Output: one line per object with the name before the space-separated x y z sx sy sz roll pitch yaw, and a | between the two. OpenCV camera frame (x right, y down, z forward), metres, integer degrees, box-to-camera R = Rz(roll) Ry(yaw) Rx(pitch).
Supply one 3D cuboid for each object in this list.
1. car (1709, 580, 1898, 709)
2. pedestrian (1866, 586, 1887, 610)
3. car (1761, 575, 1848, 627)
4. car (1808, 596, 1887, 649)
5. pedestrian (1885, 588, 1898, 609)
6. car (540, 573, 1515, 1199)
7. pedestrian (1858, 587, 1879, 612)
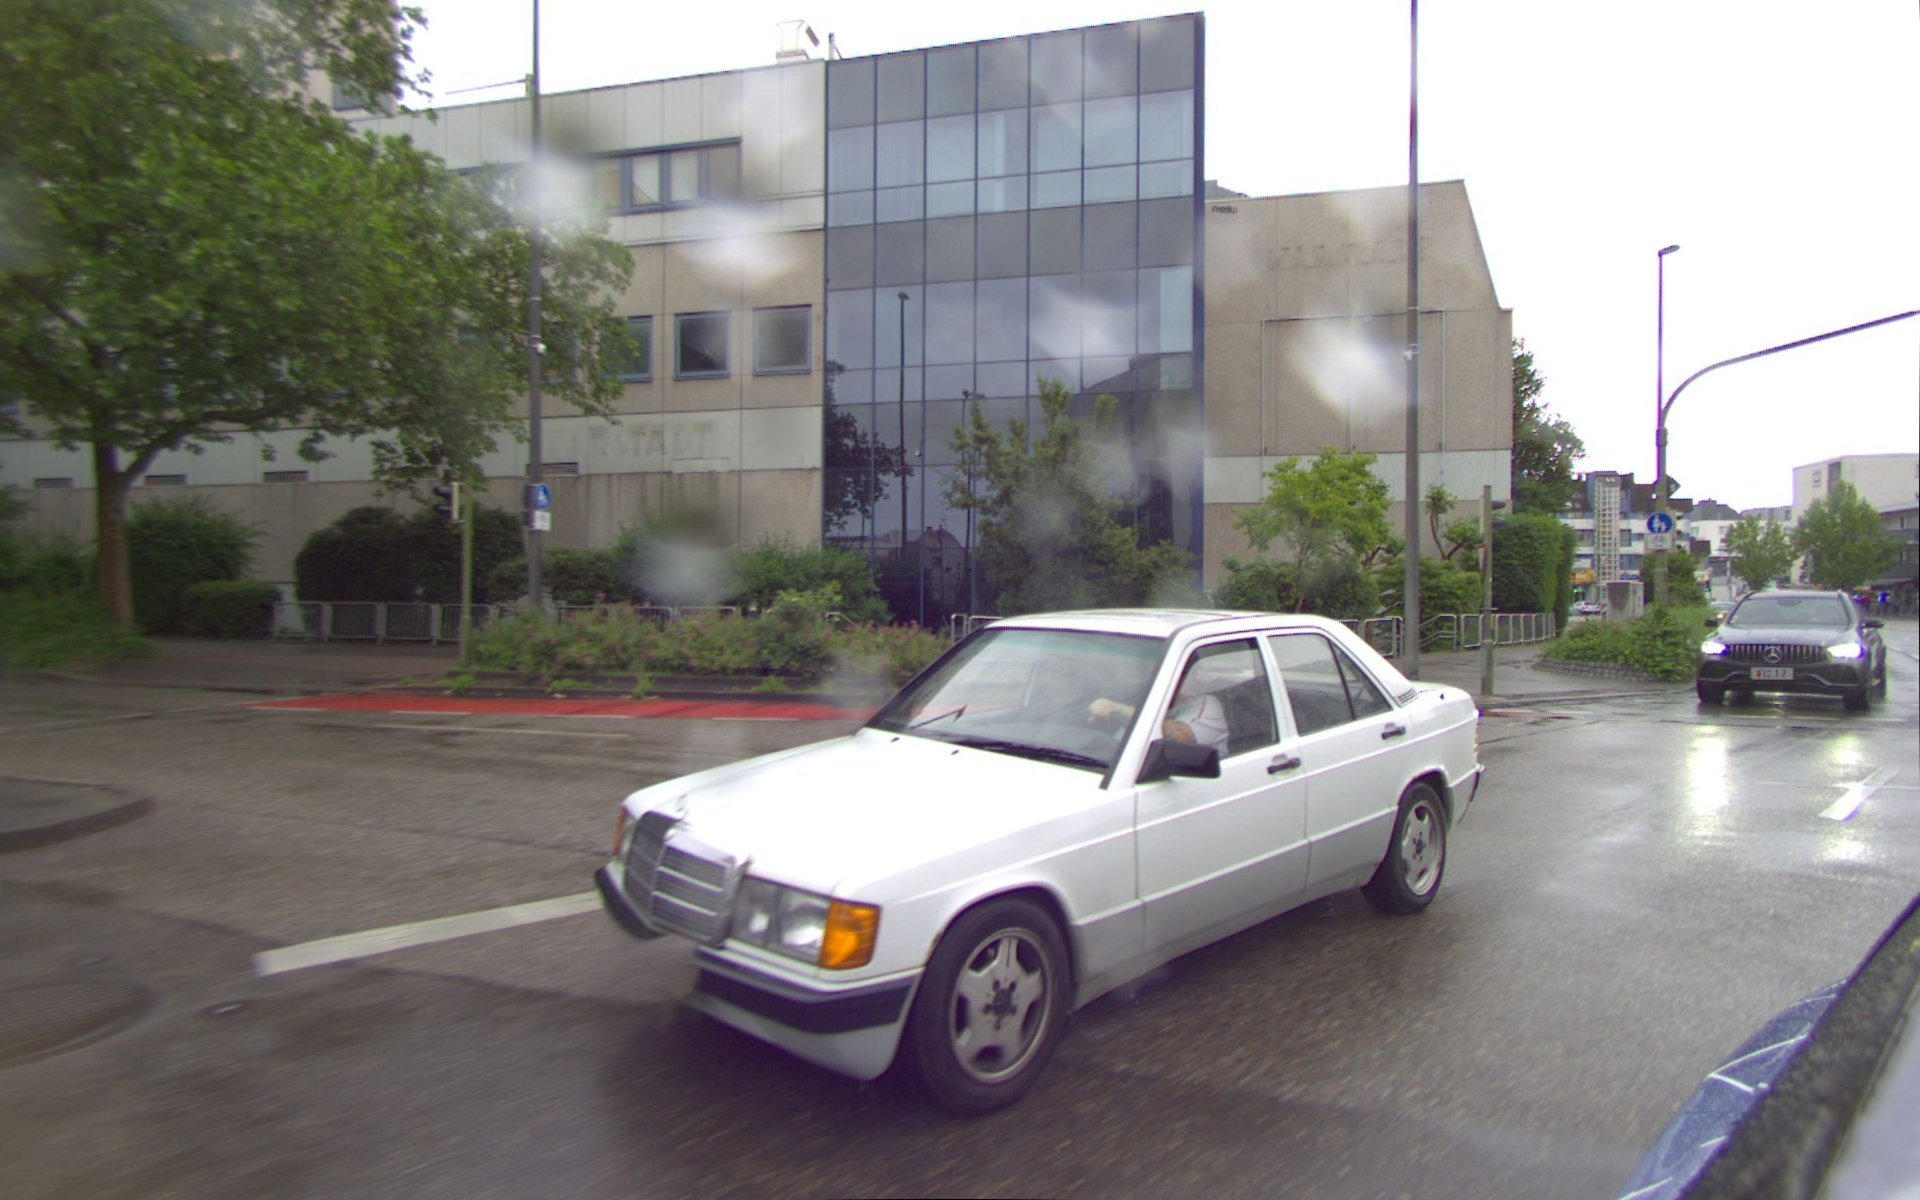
car | 12.398 0.558 15.097 1.897 1.641 4.277 -1 0 37
pedestrian | 75.789 -0.158 83.715 0.893 2.039 0.972 -1 -1 17
car | 33.306 0.026 40.043 1.986 1.918 4.535 -1 0 32
car | 26.135 0.626 29.887 1.629 1.403 4.449 -1 0 40
pedestrian | 78.267 -0.114 85.035 0.542 1.773 0.676 -1 -1 19
car | 0.637 0.677 4.302 4.193 1.467 1.637 0 -1 -40
pedestrian | 75.008 -0.064 83.549 0.893 2.039 0.972 -1 -1 17
